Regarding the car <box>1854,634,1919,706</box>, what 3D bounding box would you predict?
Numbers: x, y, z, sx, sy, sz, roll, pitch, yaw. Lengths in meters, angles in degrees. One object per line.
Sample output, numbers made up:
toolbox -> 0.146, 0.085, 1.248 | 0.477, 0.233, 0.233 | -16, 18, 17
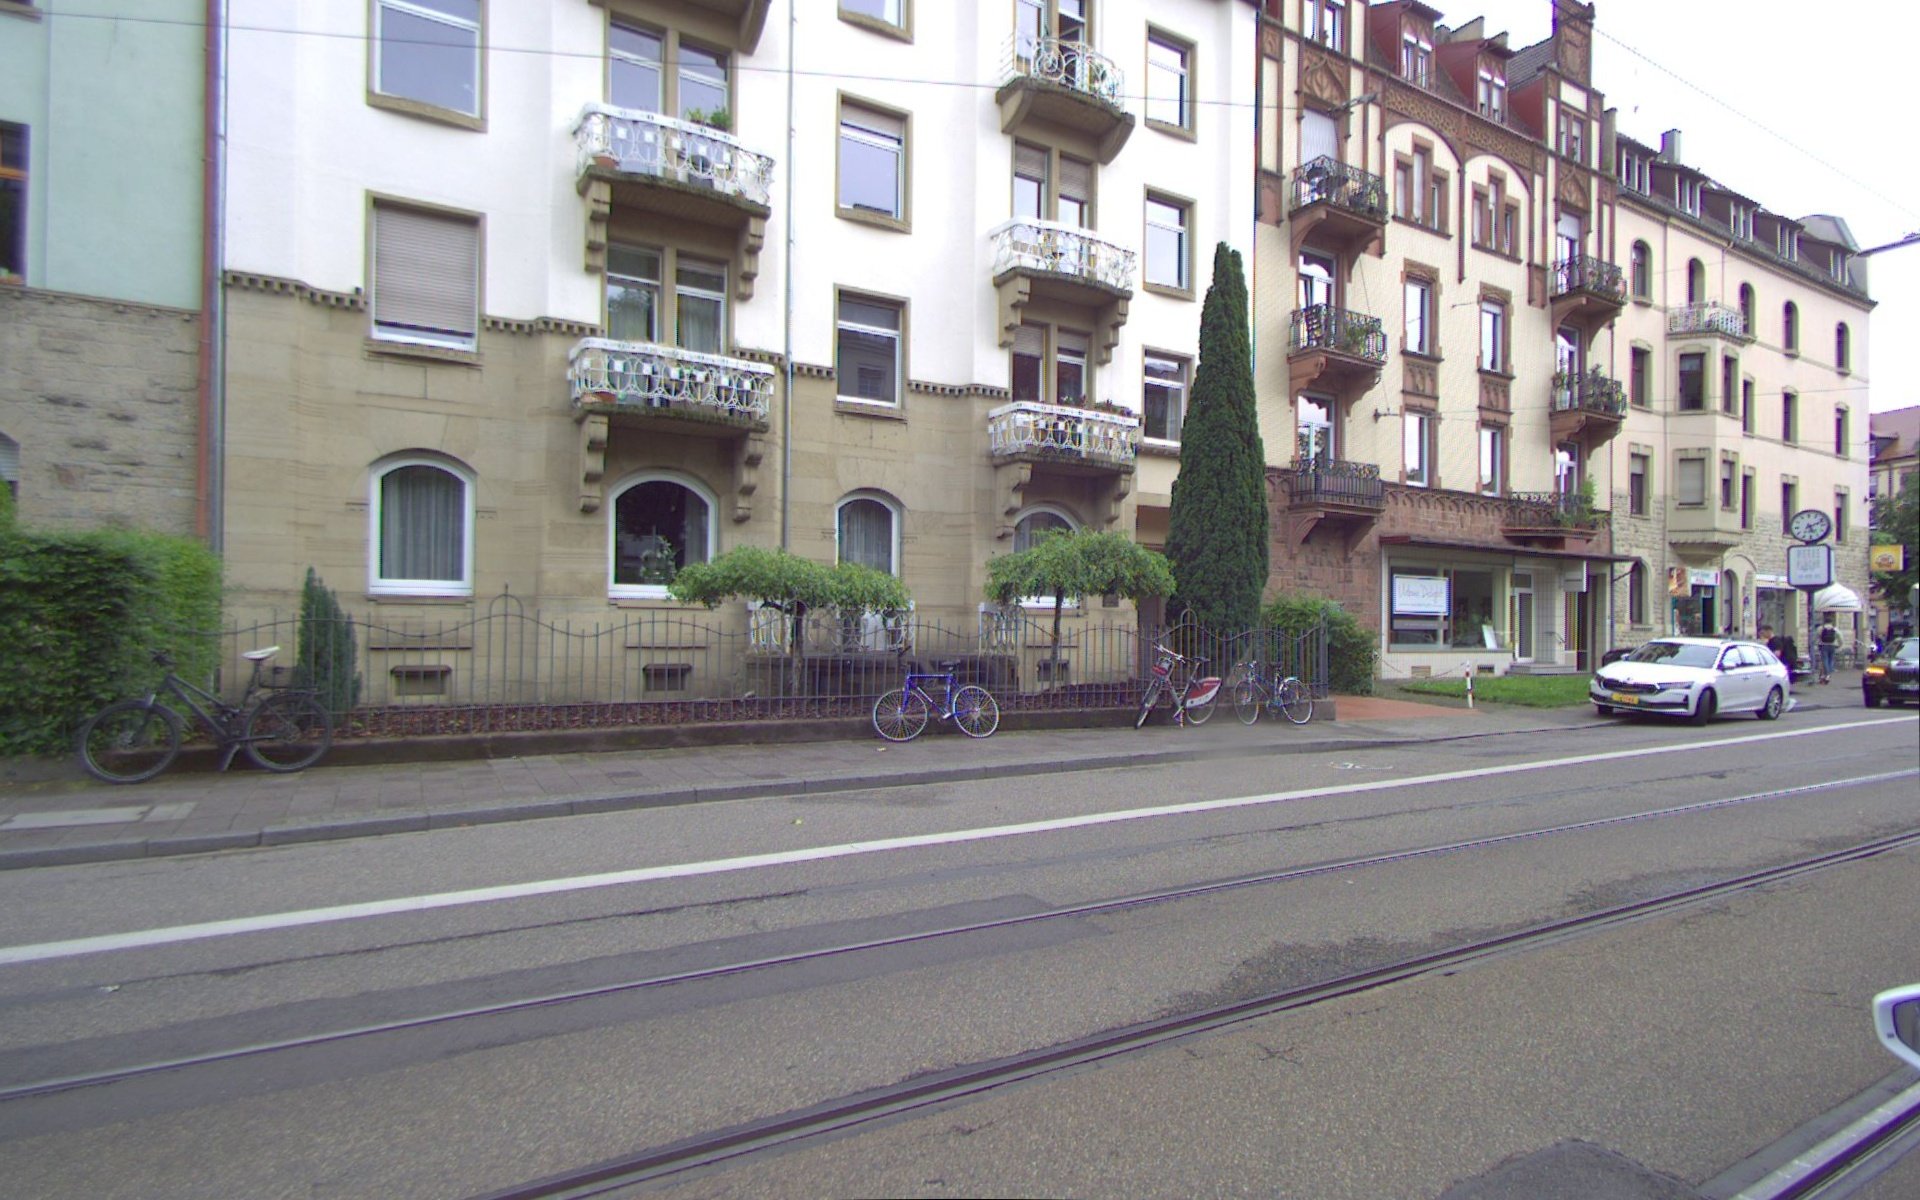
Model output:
car -> 23.496, 1.666, 24.405 | 4.846, 1.632, 1.868 | 2, -4, -39

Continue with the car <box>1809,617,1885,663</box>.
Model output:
car -> 52.953, 2.362, 60.077 | 2.146, 2.560, 5.373 | 0, -1, 28

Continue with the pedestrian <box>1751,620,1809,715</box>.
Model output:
pedestrian -> 16.592, 1.342, 20.332 | 0.872, 1.868, 0.664 | 1, -1, -31

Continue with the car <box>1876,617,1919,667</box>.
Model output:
car -> 48.831, 2.113, 50.399 | 2.142, 2.449, 5.382 | 1, -1, 18

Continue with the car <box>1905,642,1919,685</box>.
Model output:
car -> 32.960, 2.138, 33.124 | 4.085, 1.380, 1.639 | 2, 1, -33

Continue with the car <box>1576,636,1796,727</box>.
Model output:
car -> 13.645, 1.445, 18.807 | 4.557, 1.504, 1.738 | 2, -1, -32

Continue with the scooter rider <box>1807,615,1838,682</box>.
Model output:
scooter rider -> 26.659, 1.487, 31.055 | 0.633, 2.040, 0.755 | 0, -1, 34

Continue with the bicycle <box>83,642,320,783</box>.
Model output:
bicycle -> -6.295, 0.908, 8.423 | 1.529, 1.098, 0.358 | 2, -1, -31

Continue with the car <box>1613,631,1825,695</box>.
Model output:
car -> 21.400, 1.723, 28.495 | 1.861, 1.388, 4.397 | 2, 1, -34

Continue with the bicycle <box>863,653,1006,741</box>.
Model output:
bicycle -> -0.304, 1.158, 12.149 | 1.640, 0.938, 0.358 | 1, -19, -28

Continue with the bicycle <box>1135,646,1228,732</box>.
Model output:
bicycle -> 3.081, 1.201, 13.907 | 1.613, 1.116, 0.381 | 2, -1, -42

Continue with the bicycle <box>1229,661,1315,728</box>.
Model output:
bicycle -> 4.731, 1.419, 15.217 | 1.498, 0.950, 0.330 | 2, -1, -31

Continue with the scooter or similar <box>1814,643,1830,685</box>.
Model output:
scooter or similar -> 26.656, 1.977, 31.060 | 0.228, 1.250, 0.951 | 0, -1, 32
